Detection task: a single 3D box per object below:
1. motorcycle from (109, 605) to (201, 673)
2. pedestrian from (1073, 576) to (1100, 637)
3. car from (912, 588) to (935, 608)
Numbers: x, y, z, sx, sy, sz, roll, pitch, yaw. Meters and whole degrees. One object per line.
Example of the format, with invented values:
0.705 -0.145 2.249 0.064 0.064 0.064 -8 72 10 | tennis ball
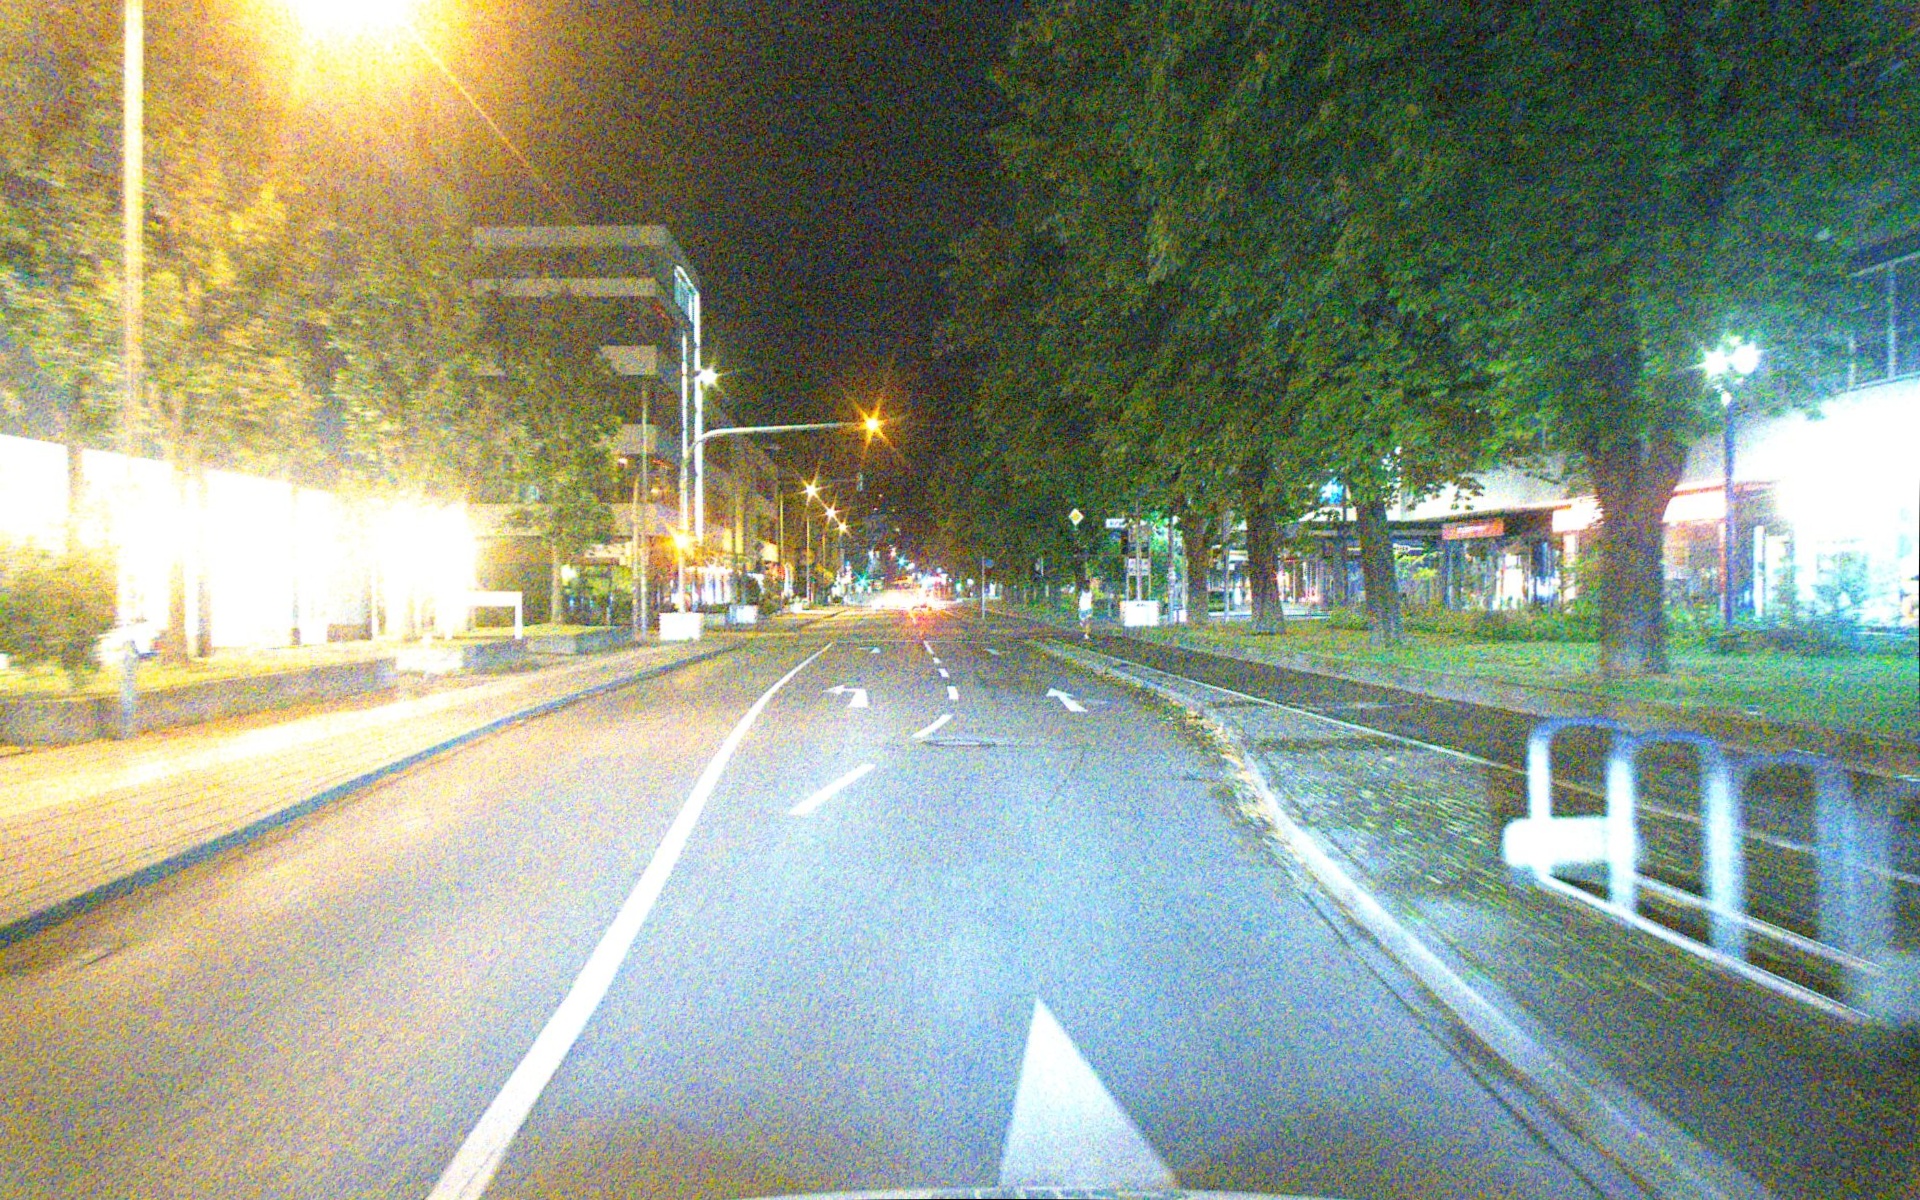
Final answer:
-13.043 0.619 26.837 0.468 1.038 1.676 0 1 8 | motorcycle
3.919 0.196 51.246 0.688 1.850 1.081 -1 0 -2 | pedestrian
-3.266 -0.205 148.395 1.953 1.672 3.998 -2 0 -2 | car
